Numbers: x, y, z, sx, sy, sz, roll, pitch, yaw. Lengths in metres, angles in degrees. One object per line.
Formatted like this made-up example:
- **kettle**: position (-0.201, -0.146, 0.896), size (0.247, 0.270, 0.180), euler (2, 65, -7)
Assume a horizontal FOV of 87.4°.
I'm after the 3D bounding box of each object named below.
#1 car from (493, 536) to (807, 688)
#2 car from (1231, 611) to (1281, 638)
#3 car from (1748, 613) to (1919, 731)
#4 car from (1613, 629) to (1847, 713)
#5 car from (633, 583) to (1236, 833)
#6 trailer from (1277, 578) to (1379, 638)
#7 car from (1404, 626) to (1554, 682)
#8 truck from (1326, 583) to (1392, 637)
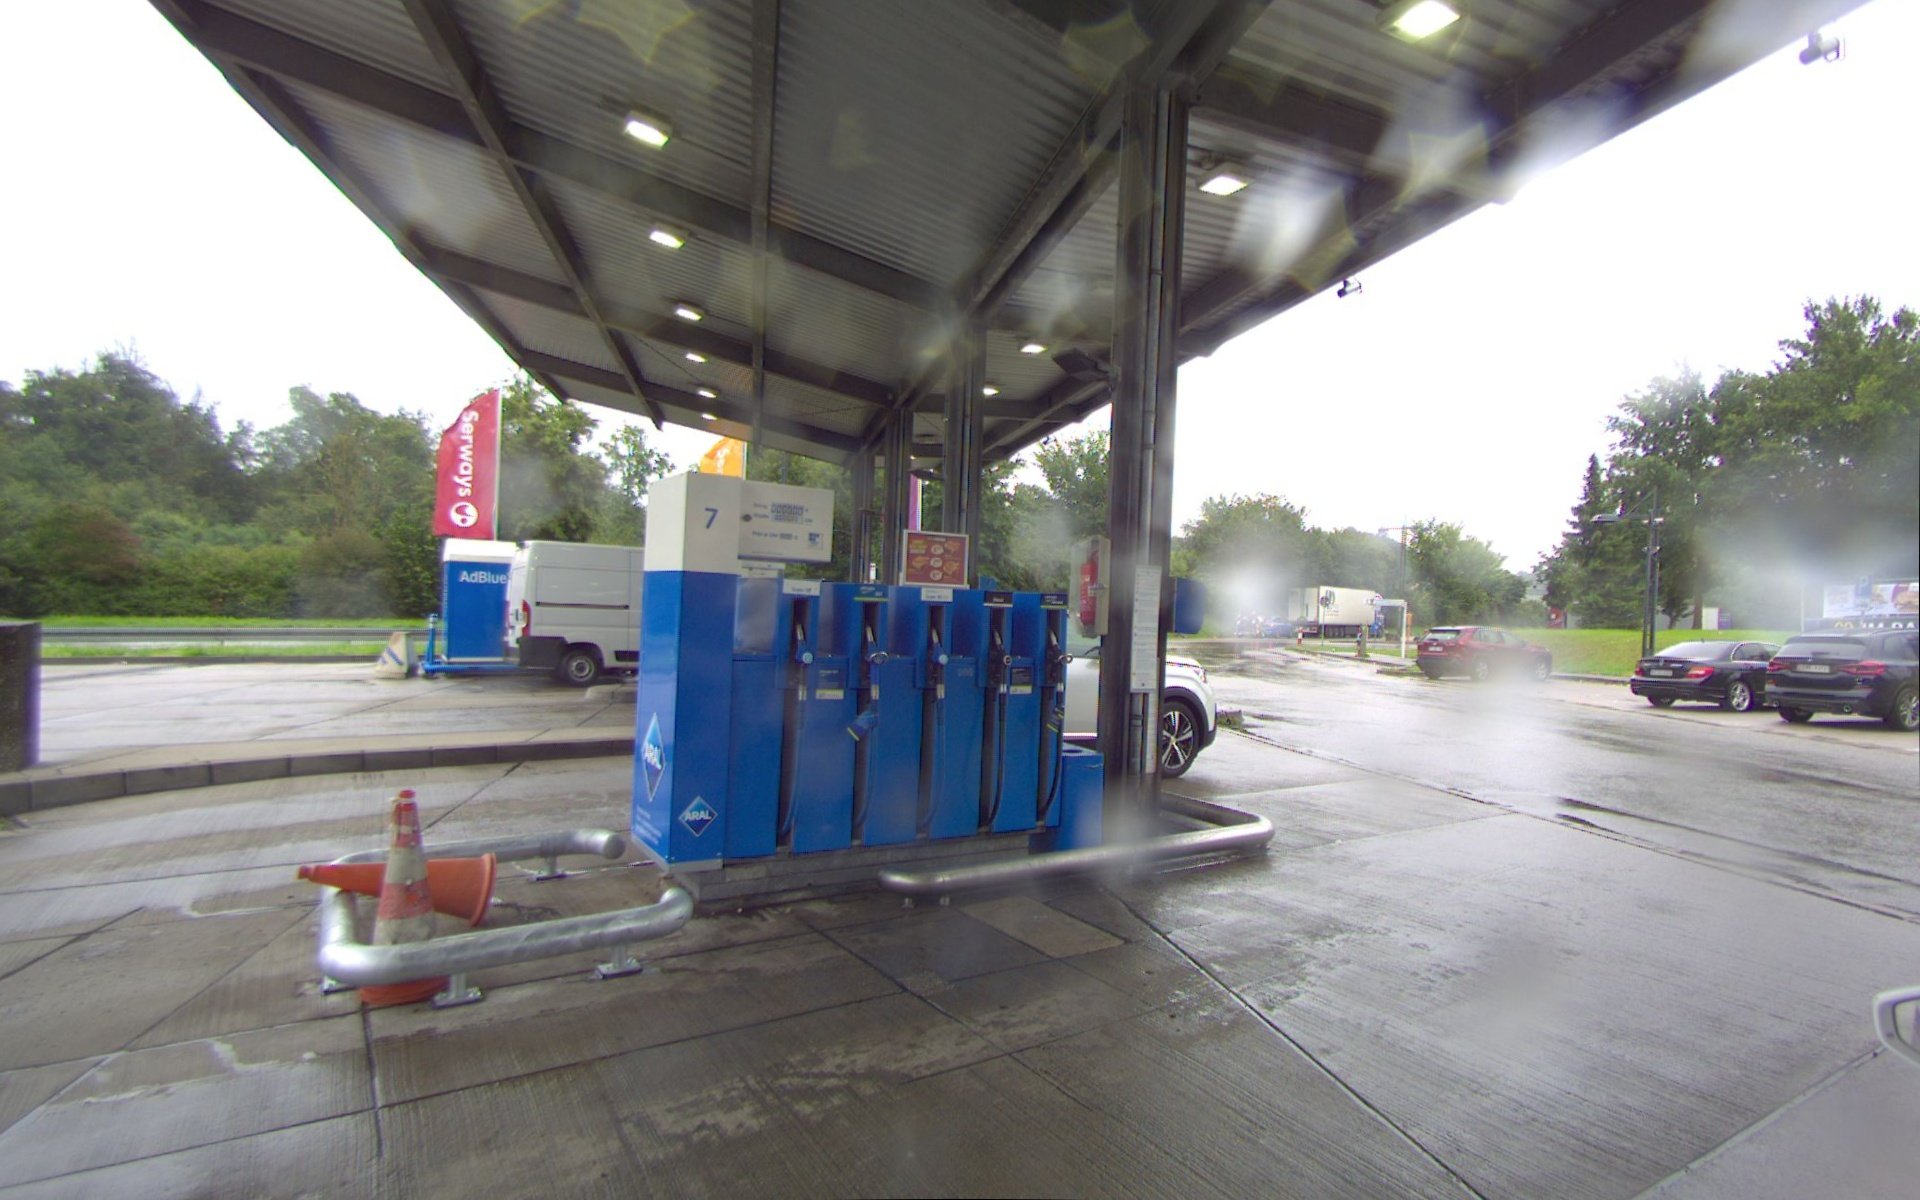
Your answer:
- **car**: position (-5.771, 0.265, 18.964), size (5.227, 2.496, 2.306), euler (1, -1, -34)
- **car**: position (20.896, 1.714, 70.821), size (1.903, 1.862, 4.373), euler (1, 0, 38)
- **car**: position (16.154, 1.189, 17.410), size (4.344, 1.852, 1.883), euler (1, -1, -19)
- **car**: position (15.941, 1.417, 20.829), size (4.119, 1.585, 1.883), euler (1, -1, -19)
- **car**: position (-0.021, 0.729, 8.541), size (4.953, 1.586, 1.802), euler (1, 0, -35)
- **trailer**: position (30.916, 0.748, 83.861), size (3.416, 4.618, 13.847), euler (2, 0, 40)
- **car**: position (16.004, 1.645, 30.975), size (4.294, 1.617, 1.879), euler (1, -1, -24)
- **truck**: position (35.589, 0.918, 89.465), size (3.416, 4.618, 6.704), euler (2, 0, 40)
